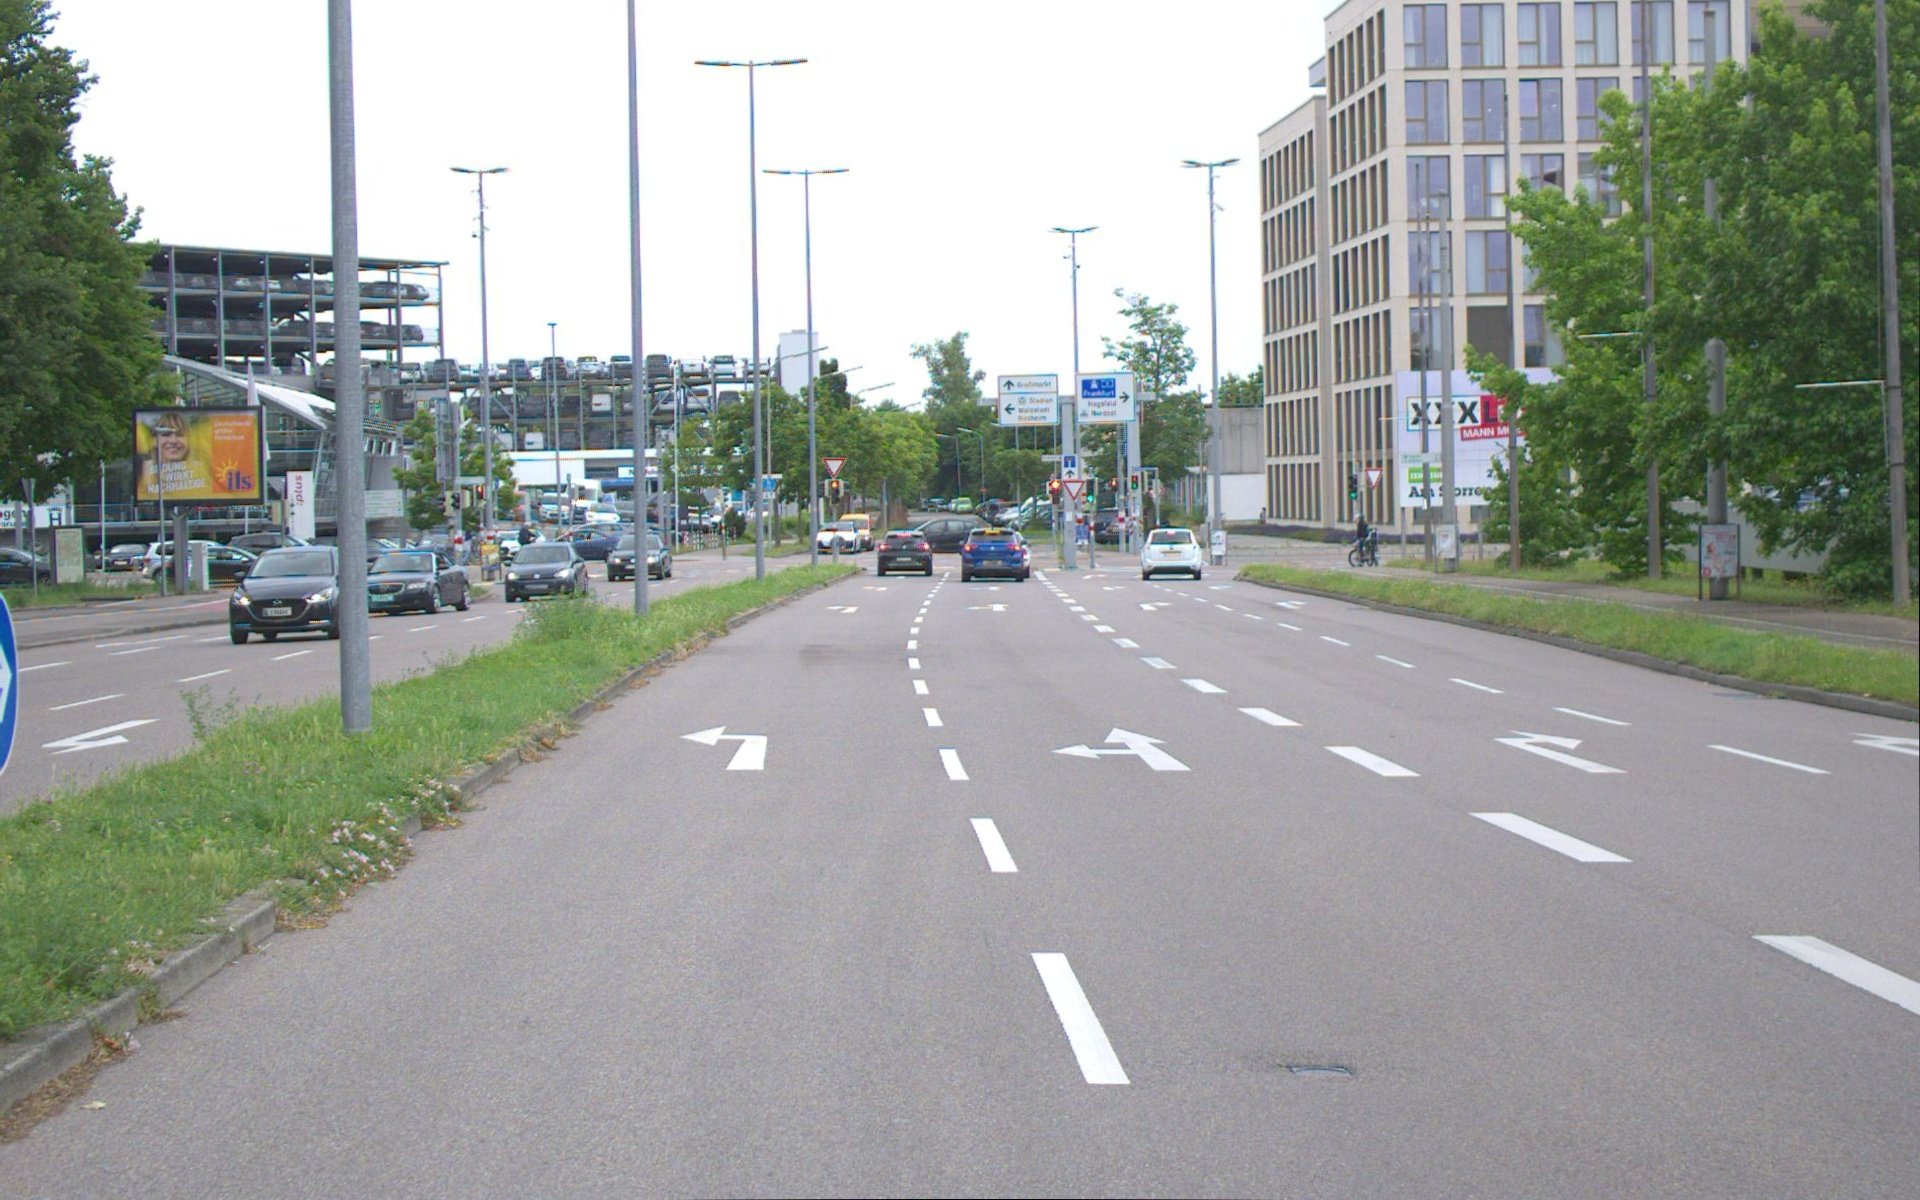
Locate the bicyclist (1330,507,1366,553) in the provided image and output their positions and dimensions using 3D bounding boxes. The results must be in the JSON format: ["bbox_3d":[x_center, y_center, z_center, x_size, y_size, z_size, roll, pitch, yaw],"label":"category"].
[{"bbox_3d":[12.757,-2.312,113.053,0.700,1.498,1.000,-2,2,-36],"label":"bicyclist"}]

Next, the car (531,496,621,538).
[{"bbox_3d":[-17.409,-3.788,155.929,3.986,1.784,1.848,-1,3,-5],"label":"car"}]

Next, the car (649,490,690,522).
[{"bbox_3d":[-16.856,-5.446,199.553,1.776,1.700,3.916,-1,3,5],"label":"car"}]

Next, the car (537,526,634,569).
[{"bbox_3d":[-15.197,-2.132,139.415,3.855,1.629,1.725,-1,3,-6],"label":"car"}]

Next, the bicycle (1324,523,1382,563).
[{"bbox_3d":[12.890,-1.874,112.880,0.700,1.291,2.011,-2,2,-36],"label":"bicycle"}]

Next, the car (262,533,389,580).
[{"bbox_3d":[-23.073,-1.588,125.120,4.415,1.654,2.000,-1,1,-7],"label":"car"}]

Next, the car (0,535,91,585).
[{"bbox_3d":[-33.873,-1.429,124.133,4.542,1.654,2.001,-2,2,-7],"label":"car"}]

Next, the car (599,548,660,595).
[{"bbox_3d":[-10.631,-0.935,110.706,1.930,1.450,4.183,-1,1,-5],"label":"car"}]

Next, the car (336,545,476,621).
[{"bbox_3d":[-11.754,-0.379,73.191,1.772,1.447,4.404,-3,1,6],"label":"car"}]

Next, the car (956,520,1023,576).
[{"bbox_3d":[0.829,-1.510,99.060,1.835,1.509,4.001,-1,2,-1],"label":"car"}]

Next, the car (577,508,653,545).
[{"bbox_3d":[-16.663,-3.568,166.272,3.604,1.662,1.549,-1,3,-5],"label":"car"}]

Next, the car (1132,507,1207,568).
[{"bbox_3d":[6.169,-1.854,101.561,1.993,1.746,4.180,-1,1,0],"label":"car"}]

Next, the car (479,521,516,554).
[{"bbox_3d":[-20.275,-2.750,150.716,1.370,1.321,3.035,-1,3,-11],"label":"car"}]

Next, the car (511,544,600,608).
[{"bbox_3d":[-10.202,-0.618,87.004,1.780,1.450,4.183,-3,2,-1],"label":"car"}]

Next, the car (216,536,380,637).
[{"bbox_3d":[-10.445,-0.245,54.492,1.758,1.448,4.000,-3,1,0],"label":"car"}]

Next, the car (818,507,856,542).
[{"bbox_3d":[-5.691,-3.504,159.419,1.600,1.448,3.325,-1,3,0],"label":"car"}]

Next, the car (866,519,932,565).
[{"bbox_3d":[-1.966,-1.836,109.503,1.987,1.423,4.242,-1,0,-2],"label":"car"}]
